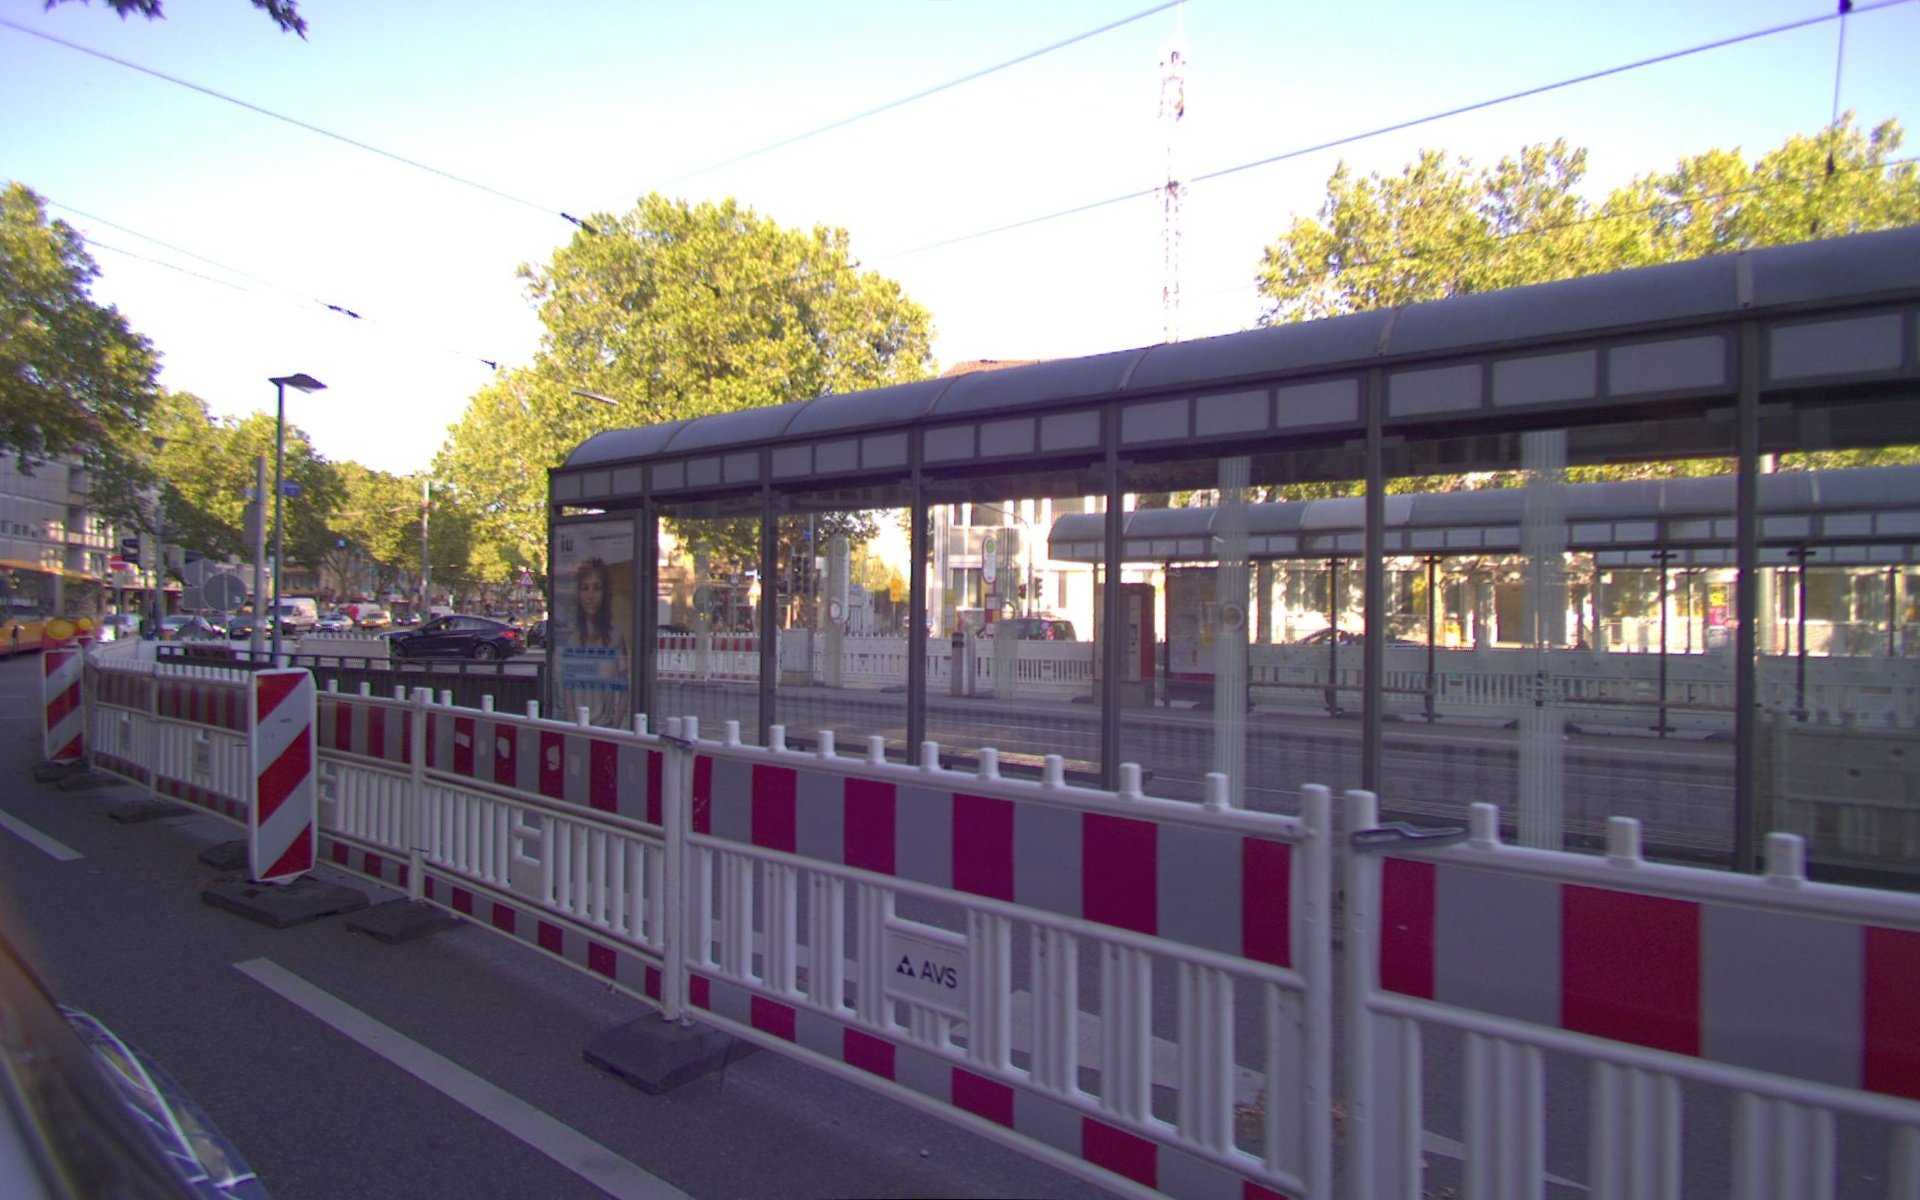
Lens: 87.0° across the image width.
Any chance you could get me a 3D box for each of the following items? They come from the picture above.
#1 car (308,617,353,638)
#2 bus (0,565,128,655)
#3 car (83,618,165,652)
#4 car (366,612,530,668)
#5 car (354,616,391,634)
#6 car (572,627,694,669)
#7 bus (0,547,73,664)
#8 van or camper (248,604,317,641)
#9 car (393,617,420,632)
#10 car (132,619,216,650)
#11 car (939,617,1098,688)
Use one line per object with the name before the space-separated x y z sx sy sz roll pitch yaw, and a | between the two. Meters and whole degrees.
car | -51.169 2.226 82.322 1.966 1.608 4.011 1 -1 -14
bus | -37.097 0.468 41.789 2.694 3.231 12.396 -1 -1 -32
car | -41.164 1.688 49.951 1.965 1.608 4.576 1 -2 -25
car | -16.770 1.342 33.386 4.367 1.660 2.004 2 -4 -9
car | -54.557 2.304 94.012 1.966 1.608 4.011 1 -2 -15
car | -11.100 1.625 34.527 3.623 1.278 1.613 2 -2 -4
bus | -30.655 0.280 31.717 2.694 3.231 12.339 -1 -1 -34
van or camper | -48.590 1.617 72.719 2.254 2.558 5.509 0 -1 -13
car | -59.059 2.573 108.025 1.677 1.599 3.717 1 -1 -16
car | -43.398 1.880 56.013 1.966 1.608 4.574 0 0 -14
car | 1.598 1.393 28.042 3.991 1.829 1.976 -1 -1 35
